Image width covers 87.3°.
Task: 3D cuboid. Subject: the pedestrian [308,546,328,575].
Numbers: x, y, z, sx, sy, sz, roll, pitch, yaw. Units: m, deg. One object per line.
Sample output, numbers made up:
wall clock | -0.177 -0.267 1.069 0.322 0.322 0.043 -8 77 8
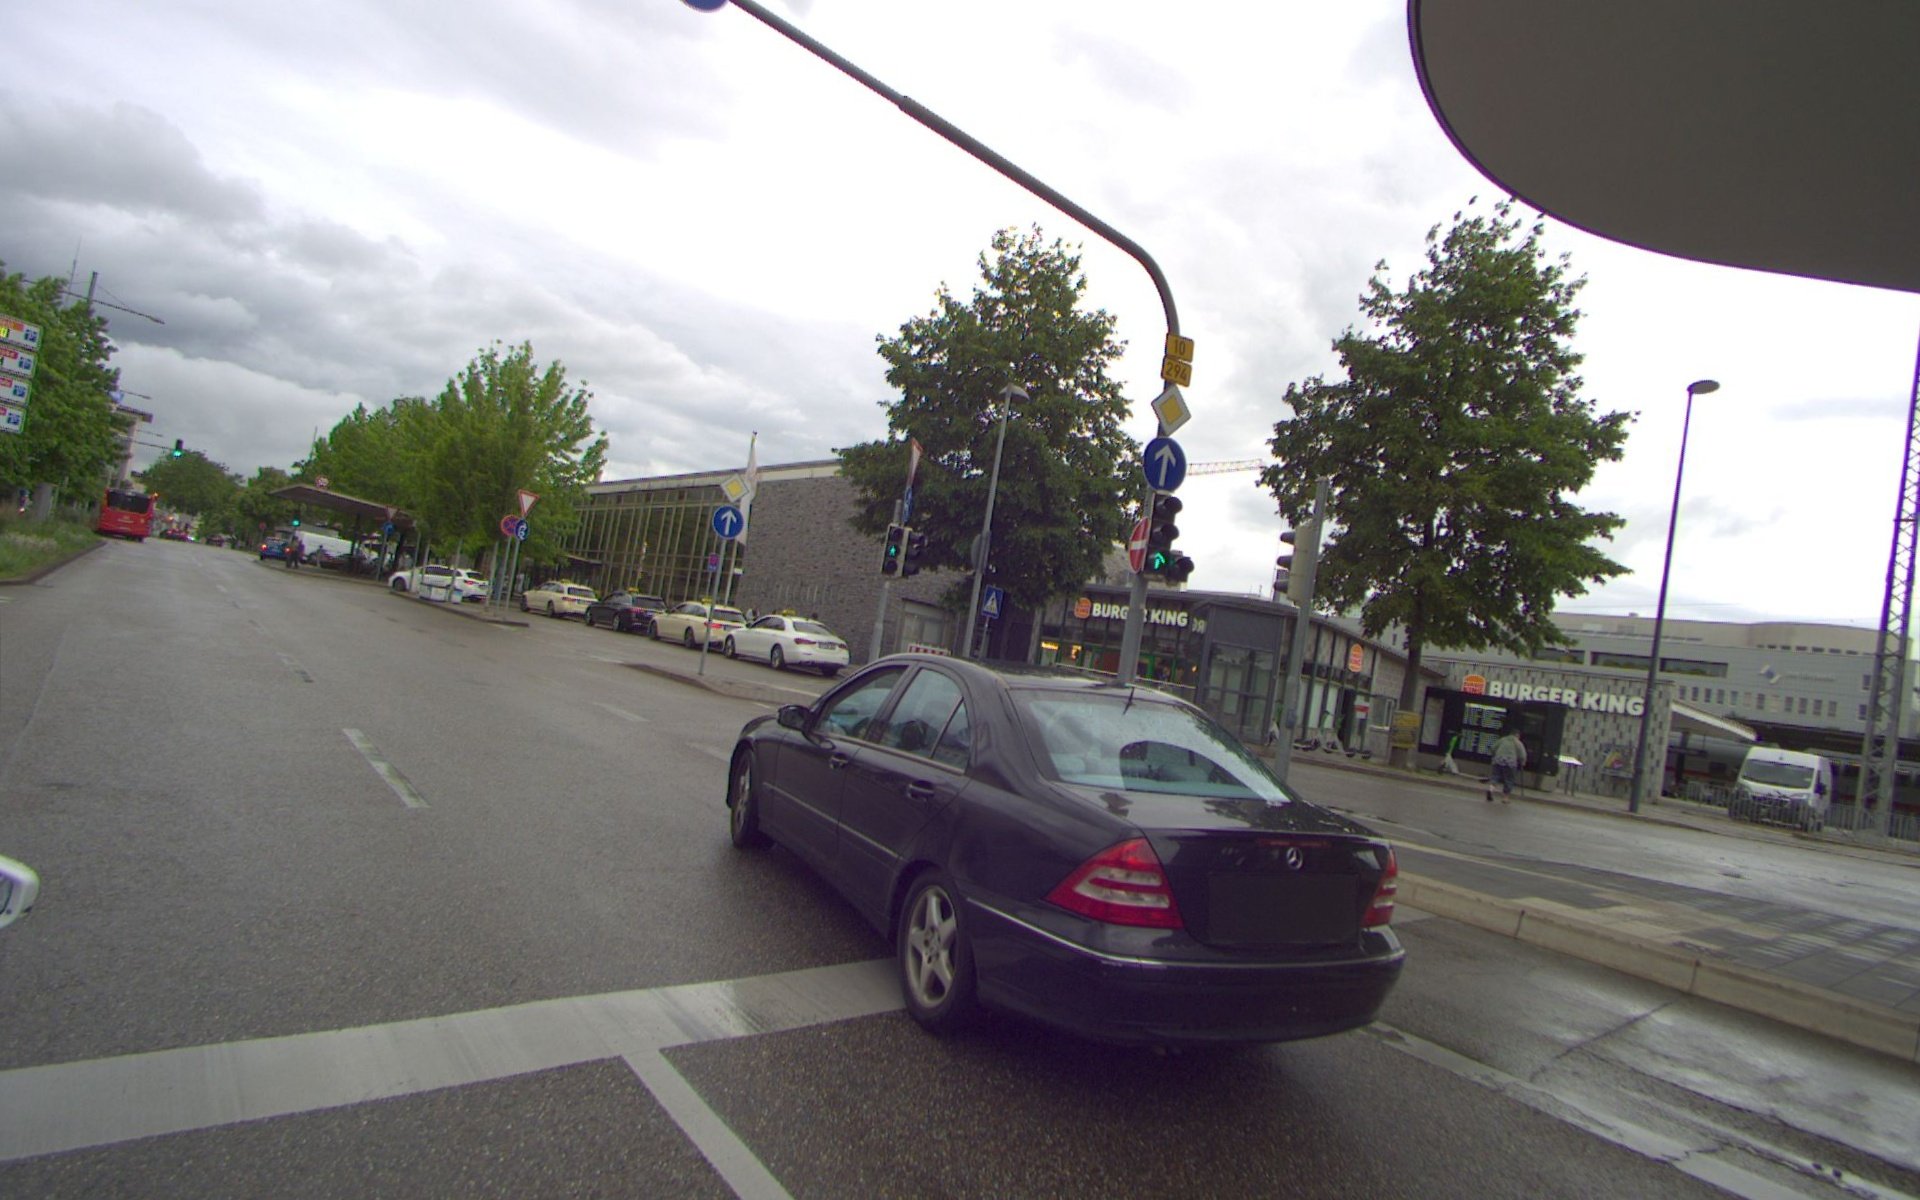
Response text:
pedestrian | -44.721 -2.740 70.085 0.853 1.855 1.177 9 -3 -39

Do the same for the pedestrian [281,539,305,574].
pedestrian | -36.264 -2.376 54.698 0.825 1.766 0.745 6 -3 43

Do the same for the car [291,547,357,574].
car | -51.041 -3.130 80.772 1.831 1.458 4.003 7 -4 25

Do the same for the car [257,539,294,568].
car | -47.236 -3.191 69.448 1.849 1.586 3.964 10 -4 -34

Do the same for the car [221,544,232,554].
car | -146.666 -10.222 201.158 1.638 1.680 3.612 8 -2 -38

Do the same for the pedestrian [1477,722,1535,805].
pedestrian | 11.210 3.345 20.682 0.825 1.547 0.638 7 -1 21

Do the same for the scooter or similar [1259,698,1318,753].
scooter or similar | 8.357 3.184 25.618 1.280 1.196 0.334 7 -1 18

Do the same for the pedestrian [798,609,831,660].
pedestrian | -4.990 1.178 34.583 0.782 1.645 0.723 7 -1 7

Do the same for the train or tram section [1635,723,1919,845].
train or tram section | 50.898 10.425 49.654 4.572 4.230 29.001 9 -2 -38

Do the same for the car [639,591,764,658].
car | -8.529 0.756 32.882 1.985 1.618 4.906 9 -2 -38

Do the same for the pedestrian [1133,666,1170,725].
pedestrian | 5.793 2.884 30.459 0.764 1.688 0.645 6 1 29

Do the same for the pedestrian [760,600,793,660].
pedestrian | -7.040 1.149 38.677 0.789 2.189 0.717 8 -1 -31

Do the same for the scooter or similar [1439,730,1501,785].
scooter or similar | 13.167 4.053 25.989 1.280 1.196 0.334 7 -1 18

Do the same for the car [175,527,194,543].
car | -113.301 -9.503 147.017 1.985 2.037 3.959 8 -2 -38

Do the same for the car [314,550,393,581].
car | -42.011 -2.382 69.760 1.810 1.339 4.196 6 -4 31

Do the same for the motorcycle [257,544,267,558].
motorcycle | -67.184 -4.713 96.839 0.591 1.303 1.937 8 -2 -33

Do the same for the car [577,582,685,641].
car | -12.393 0.398 37.691 1.987 1.617 4.904 11 -3 -39

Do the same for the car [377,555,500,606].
car | -23.468 -0.856 45.318 4.686 1.563 1.767 7 -2 12

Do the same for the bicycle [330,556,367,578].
bicycle | -36.897 -2.002 60.745 0.413 1.068 1.830 6 -2 33

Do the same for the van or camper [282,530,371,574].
van or camper | -54.044 -4.053 85.980 2.159 2.794 5.967 7 -2 24

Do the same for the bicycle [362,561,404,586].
bicycle | -31.032 -1.419 54.080 1.820 1.068 0.416 9 -2 -39

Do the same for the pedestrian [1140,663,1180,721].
pedestrian | 6.330 2.913 31.828 0.715 1.686 0.792 8 -1 -28

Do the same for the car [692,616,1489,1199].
car | 0.077 1.016 5.214 1.682 1.482 4.421 8 -2 -29

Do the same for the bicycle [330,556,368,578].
bicycle | -36.628 -1.984 60.326 0.413 1.068 1.830 6 -2 33

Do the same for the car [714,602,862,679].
car | -4.941 1.090 28.355 1.872 1.618 4.852 9 -2 -38

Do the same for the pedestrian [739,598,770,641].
pedestrian | -8.213 0.781 40.216 0.766 1.598 0.702 8 -1 -42

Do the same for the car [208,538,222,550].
car | -116.152 -8.694 156.803 1.588 1.578 3.612 8 -2 -38

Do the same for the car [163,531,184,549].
car | -104.913 -8.001 134.241 1.985 2.037 3.959 8 -2 -38

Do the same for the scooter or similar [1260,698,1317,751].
scooter or similar | 8.549 3.232 26.187 1.280 1.196 0.334 7 -1 18

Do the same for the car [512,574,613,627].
car | -16.784 0.000 42.371 4.893 1.618 1.990 6 -2 44

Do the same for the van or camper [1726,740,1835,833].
van or camper | 27.147 6.075 33.183 2.138 2.461 5.835 6 -3 44

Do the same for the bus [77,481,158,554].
bus | -56.790 -5.468 68.095 3.530 4.025 11.054 8 -2 -39
